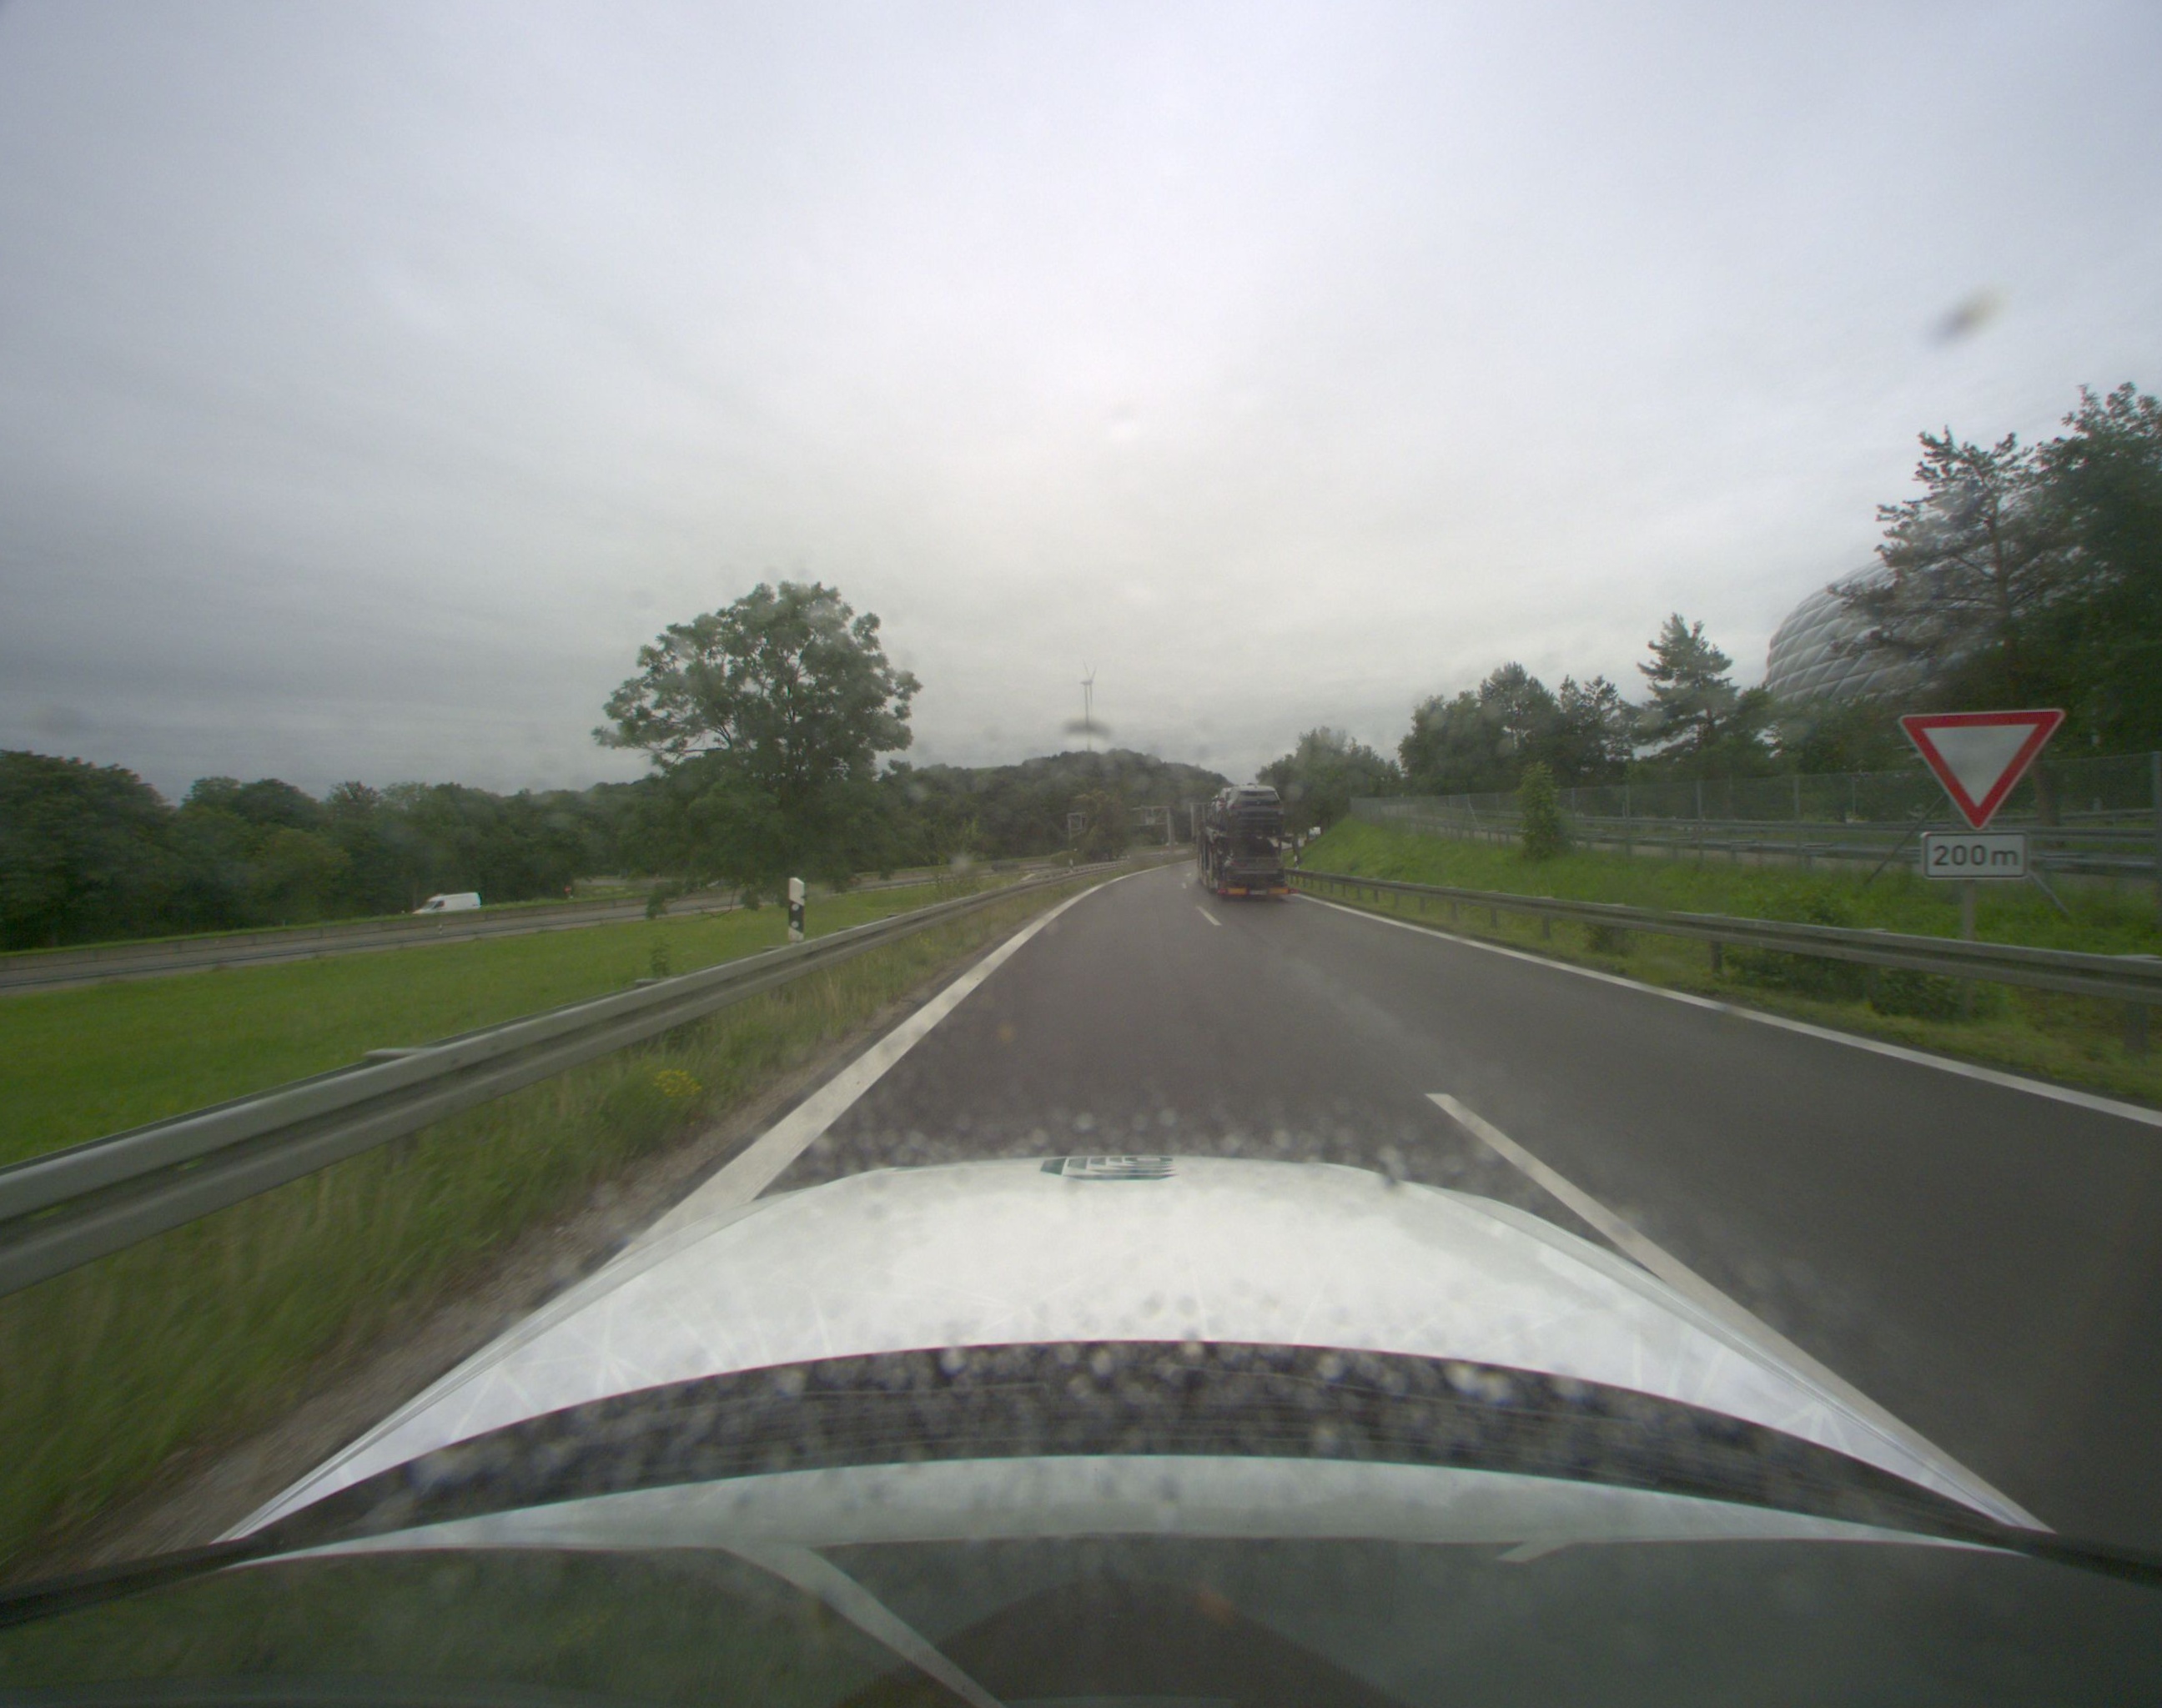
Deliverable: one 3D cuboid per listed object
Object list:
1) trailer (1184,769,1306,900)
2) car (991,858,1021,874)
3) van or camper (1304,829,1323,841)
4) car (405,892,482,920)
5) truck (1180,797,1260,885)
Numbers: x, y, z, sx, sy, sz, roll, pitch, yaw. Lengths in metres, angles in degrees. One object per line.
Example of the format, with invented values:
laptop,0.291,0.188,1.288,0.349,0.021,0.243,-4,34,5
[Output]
trailer,5.790,-0.588,31.059,3.432,3.999,12.046,0,0,6
car,-10.687,1.720,116.222,1.974,1.716,4.027,-7,0,37
van or camper,44.257,-3.618,154.806,1.974,2.013,4.614,-2,0,35
car,-66.686,5.357,85.309,2.002,2.102,5.999,-6,1,23
truck,6.974,-0.574,42.430,3.378,3.999,10.864,0,0,6
